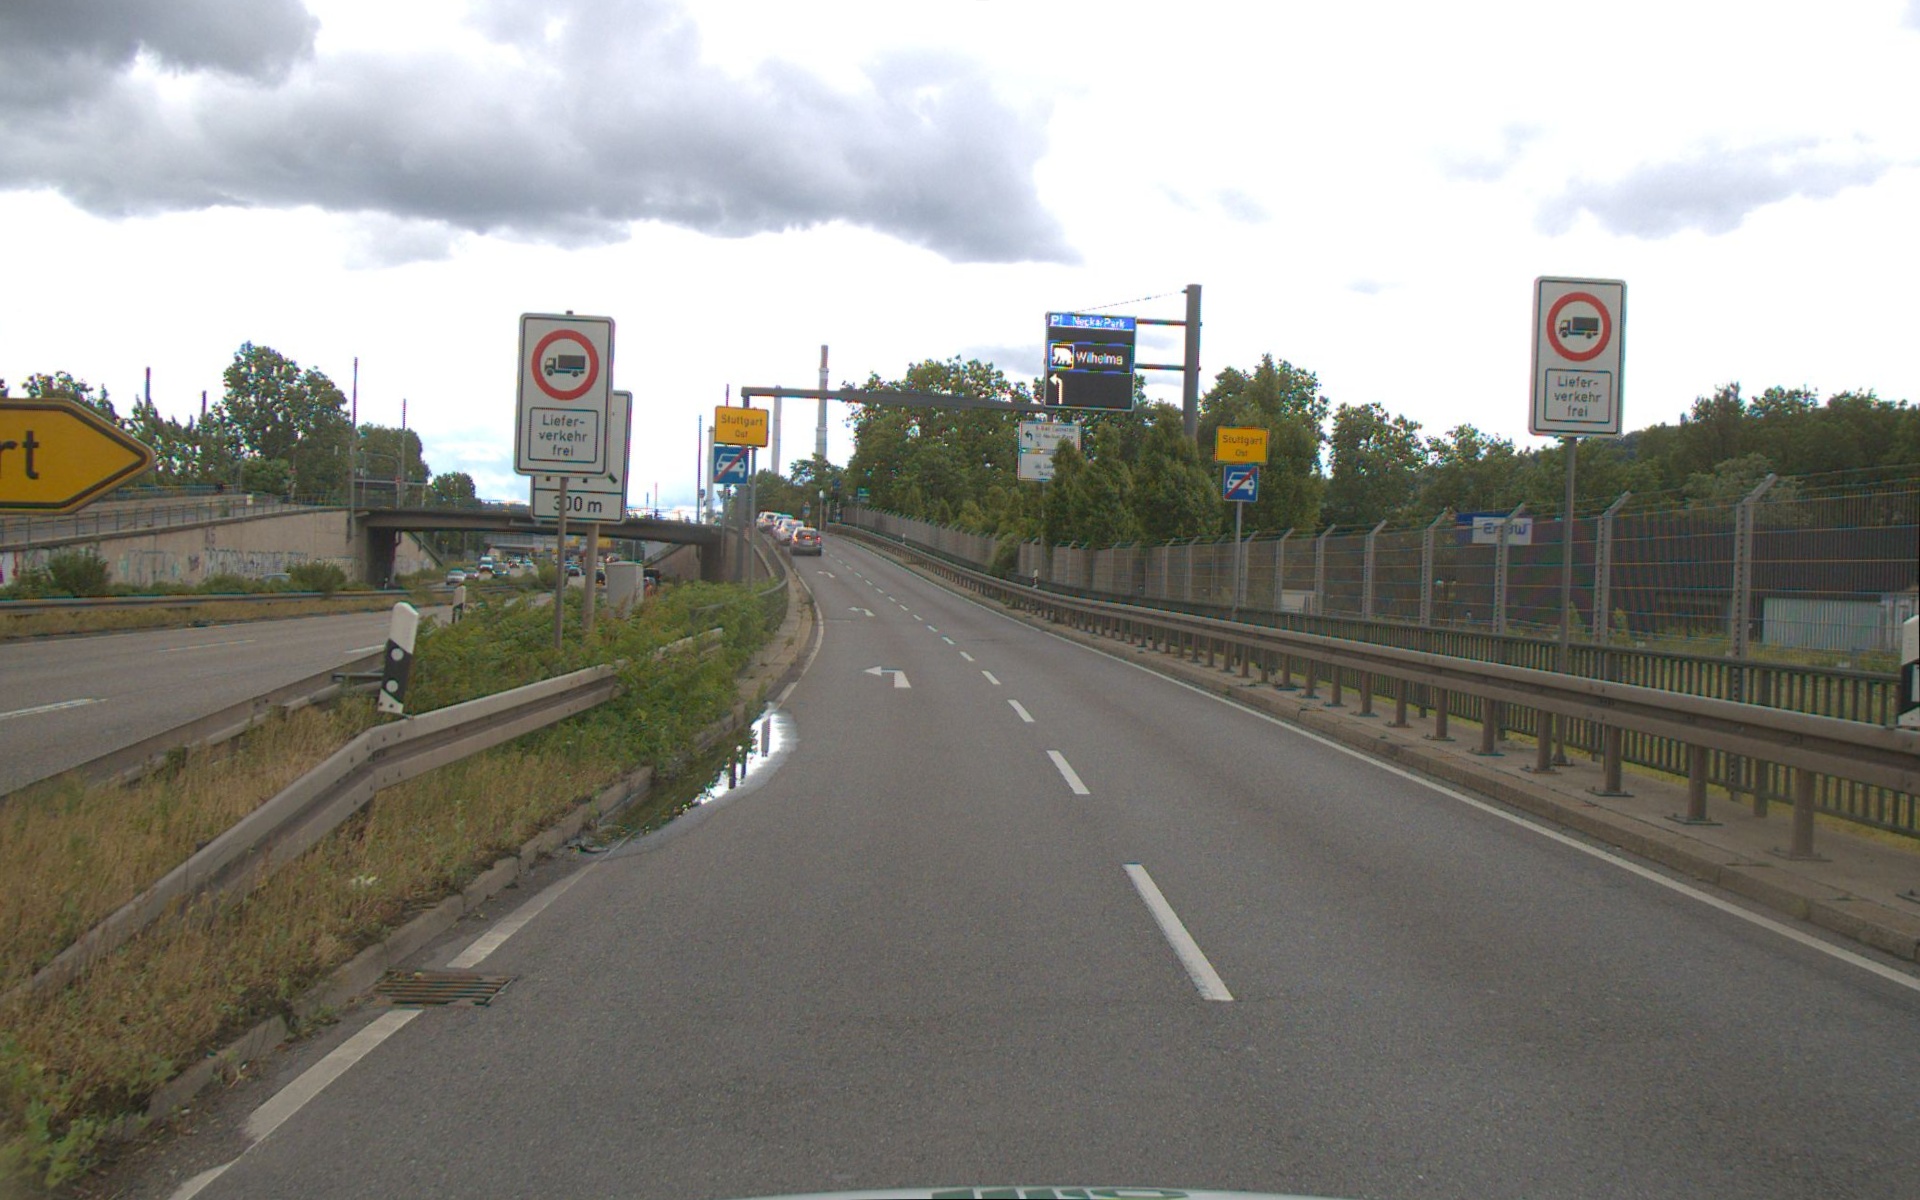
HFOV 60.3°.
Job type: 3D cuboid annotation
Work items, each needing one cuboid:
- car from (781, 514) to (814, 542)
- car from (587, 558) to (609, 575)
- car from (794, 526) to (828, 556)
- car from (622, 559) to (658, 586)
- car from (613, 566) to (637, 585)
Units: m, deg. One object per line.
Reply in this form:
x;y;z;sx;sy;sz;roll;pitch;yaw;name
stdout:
-10.770;-4.794;109.392;1.957;1.630;3.995;1;5;-9;car
-40.362;-3.773;184.478;1.955;1.713;3.996;2;2;-6;car
-8.828;-3.472;98.191;1.715;1.608;4.083;3;1;-3;car
-19.225;-1.652;99.271;1.959;1.444;3.989;2;2;-12;car
-33.926;-2.466;167.517;1.955;1.713;3.996;2;2;-6;car
